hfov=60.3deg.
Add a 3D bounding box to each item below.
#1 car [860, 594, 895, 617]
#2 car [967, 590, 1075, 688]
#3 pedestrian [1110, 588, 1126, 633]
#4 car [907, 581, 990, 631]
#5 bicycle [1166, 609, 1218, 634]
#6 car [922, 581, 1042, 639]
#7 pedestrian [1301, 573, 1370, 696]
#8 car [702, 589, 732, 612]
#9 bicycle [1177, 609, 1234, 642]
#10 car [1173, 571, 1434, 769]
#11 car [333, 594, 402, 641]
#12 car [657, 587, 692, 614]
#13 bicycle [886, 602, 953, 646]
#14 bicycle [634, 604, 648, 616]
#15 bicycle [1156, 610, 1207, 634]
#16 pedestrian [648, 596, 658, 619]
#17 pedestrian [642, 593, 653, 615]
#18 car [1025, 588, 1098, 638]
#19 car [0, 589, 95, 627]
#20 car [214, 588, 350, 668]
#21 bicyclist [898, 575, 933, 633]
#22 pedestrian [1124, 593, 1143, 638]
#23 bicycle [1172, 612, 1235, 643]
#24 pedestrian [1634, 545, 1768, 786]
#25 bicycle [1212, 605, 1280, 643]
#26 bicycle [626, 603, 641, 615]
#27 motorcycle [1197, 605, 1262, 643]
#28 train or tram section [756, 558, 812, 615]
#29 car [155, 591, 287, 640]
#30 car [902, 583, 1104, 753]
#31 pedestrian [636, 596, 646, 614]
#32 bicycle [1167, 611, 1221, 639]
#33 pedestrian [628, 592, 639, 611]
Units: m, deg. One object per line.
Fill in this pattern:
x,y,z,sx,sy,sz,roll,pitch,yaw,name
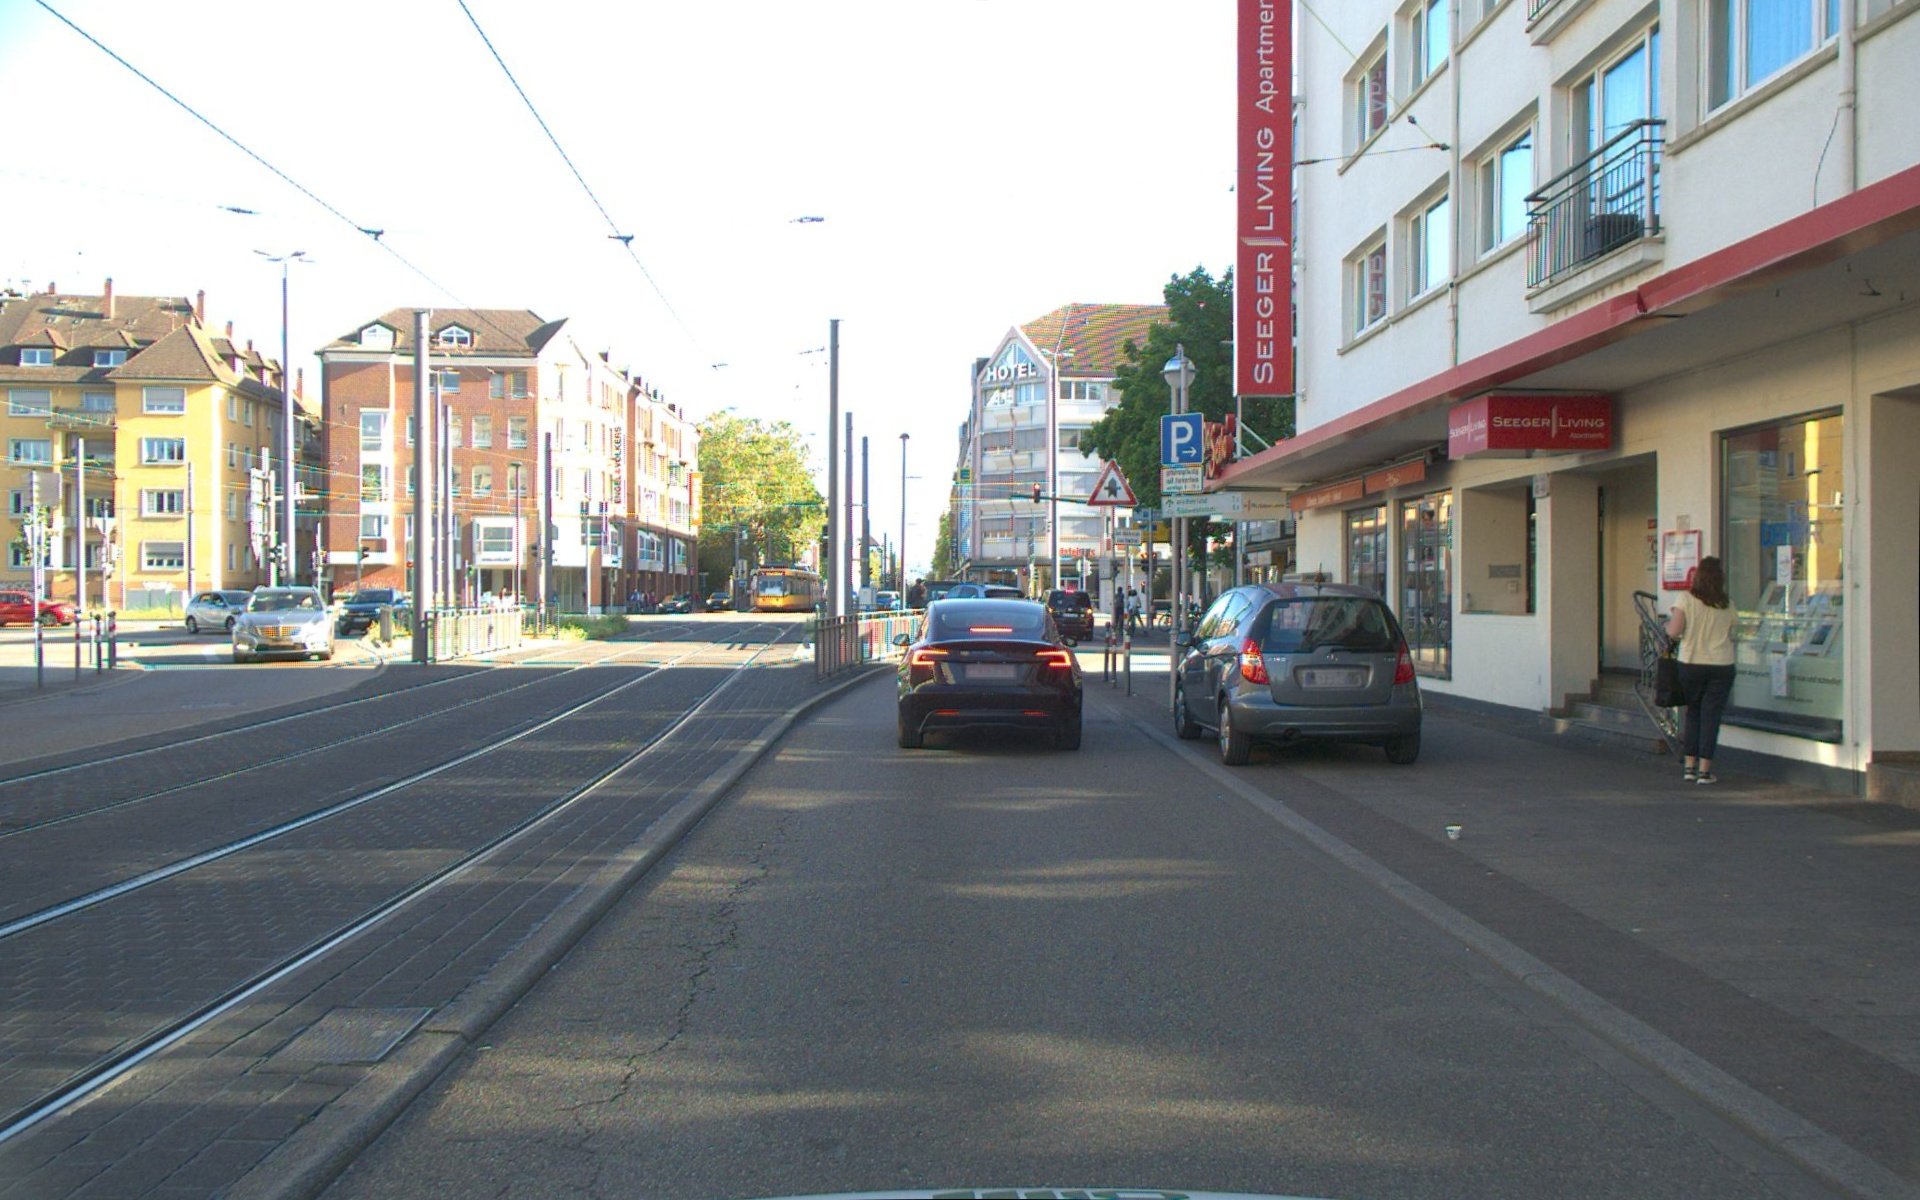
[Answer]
-5.495,0.391,110.749,1.952,1.445,4.001,2,0,2,car
0.960,0.601,27.903,1.620,1.443,4.000,2,1,0,car
6.052,0.399,63.356,0.550,1.712,0.750,1,0,4,pedestrian
-0.419,0.180,54.772,1.793,1.545,4.203,2,0,-14,car
8.872,0.826,63.261,1.885,0.906,0.526,1,-1,0,bicycle
0.579,0.261,47.545,1.761,1.545,4.184,2,0,-26,car
5.377,0.487,23.680,0.800,1.712,0.714,2,-1,22,pedestrian
-18.844,0.064,128.613,1.715,1.680,3.999,2,0,-1,car
8.503,0.877,57.342,1.885,1.116,0.554,1,-1,0,bicycle
3.162,0.582,15.915,1.709,1.660,3.648,-1,0,-1,car
-20.003,0.572,55.976,1.734,1.538,4.264,1,0,-14,car
-21.580,0.040,125.214,1.953,2.049,4.000,0,0,-1,car
-1.086,0.635,44.376,1.696,1.107,0.677,2,-1,-9,bicycle
-23.787,0.716,123.206,0.688,0.870,2.053,0,0,-1,bicycle
8.645,0.858,64.585,1.885,0.906,0.526,1,-1,0,bicycle
-23.656,0.570,127.353,0.698,1.696,0.563,2,-1,-10,pedestrian
-23.655,0.297,125.176,0.698,1.582,0.563,2,-1,-10,pedestrian
3.352,0.419,55.200,1.789,1.545,3.644,2,0,-6,car
-39.261,0.329,70.163,4.070,1.516,1.934,1,0,-10,car
-13.891,0.533,34.161,1.848,1.522,4.913,0,0,-13,car
-1.187,0.100,44.396,0.821,1.526,0.559,2,-1,-9,bicyclist
6.413,0.568,61.221,0.616,1.642,0.643,1,0,3,pedestrian
8.129,0.909,55.274,2.009,0.999,0.483,1,-1,0,bicycle
5.773,0.495,12.935,0.786,1.805,0.933,0,0,13,pedestrian
8.830,0.747,51.119,2.009,1.141,0.483,1,-1,0,bicycle
-23.753,0.668,120.301,0.688,0.870,2.053,0,0,-1,bicycle
8.662,0.763,53.214,1.951,1.148,0.596,2,-1,-1,motorcycle
-12.695,-0.912,120.532,2.620,3.780,14.190,2,0,-1,train or tram section
-27.181,0.563,60.867,4.500,1.583,1.815,2,0,23,car
0.335,0.638,17.098,1.812,1.510,3.785,2,0,-2,car
-23.783,0.361,123.281,0.682,1.331,0.564,0,0,-2,pedestrian
8.535,0.904,60.231,1.885,0.967,0.526,1,-1,0,bicycle
-23.748,0.116,120.348,0.697,1.365,0.666,0,0,-1,pedestrian
